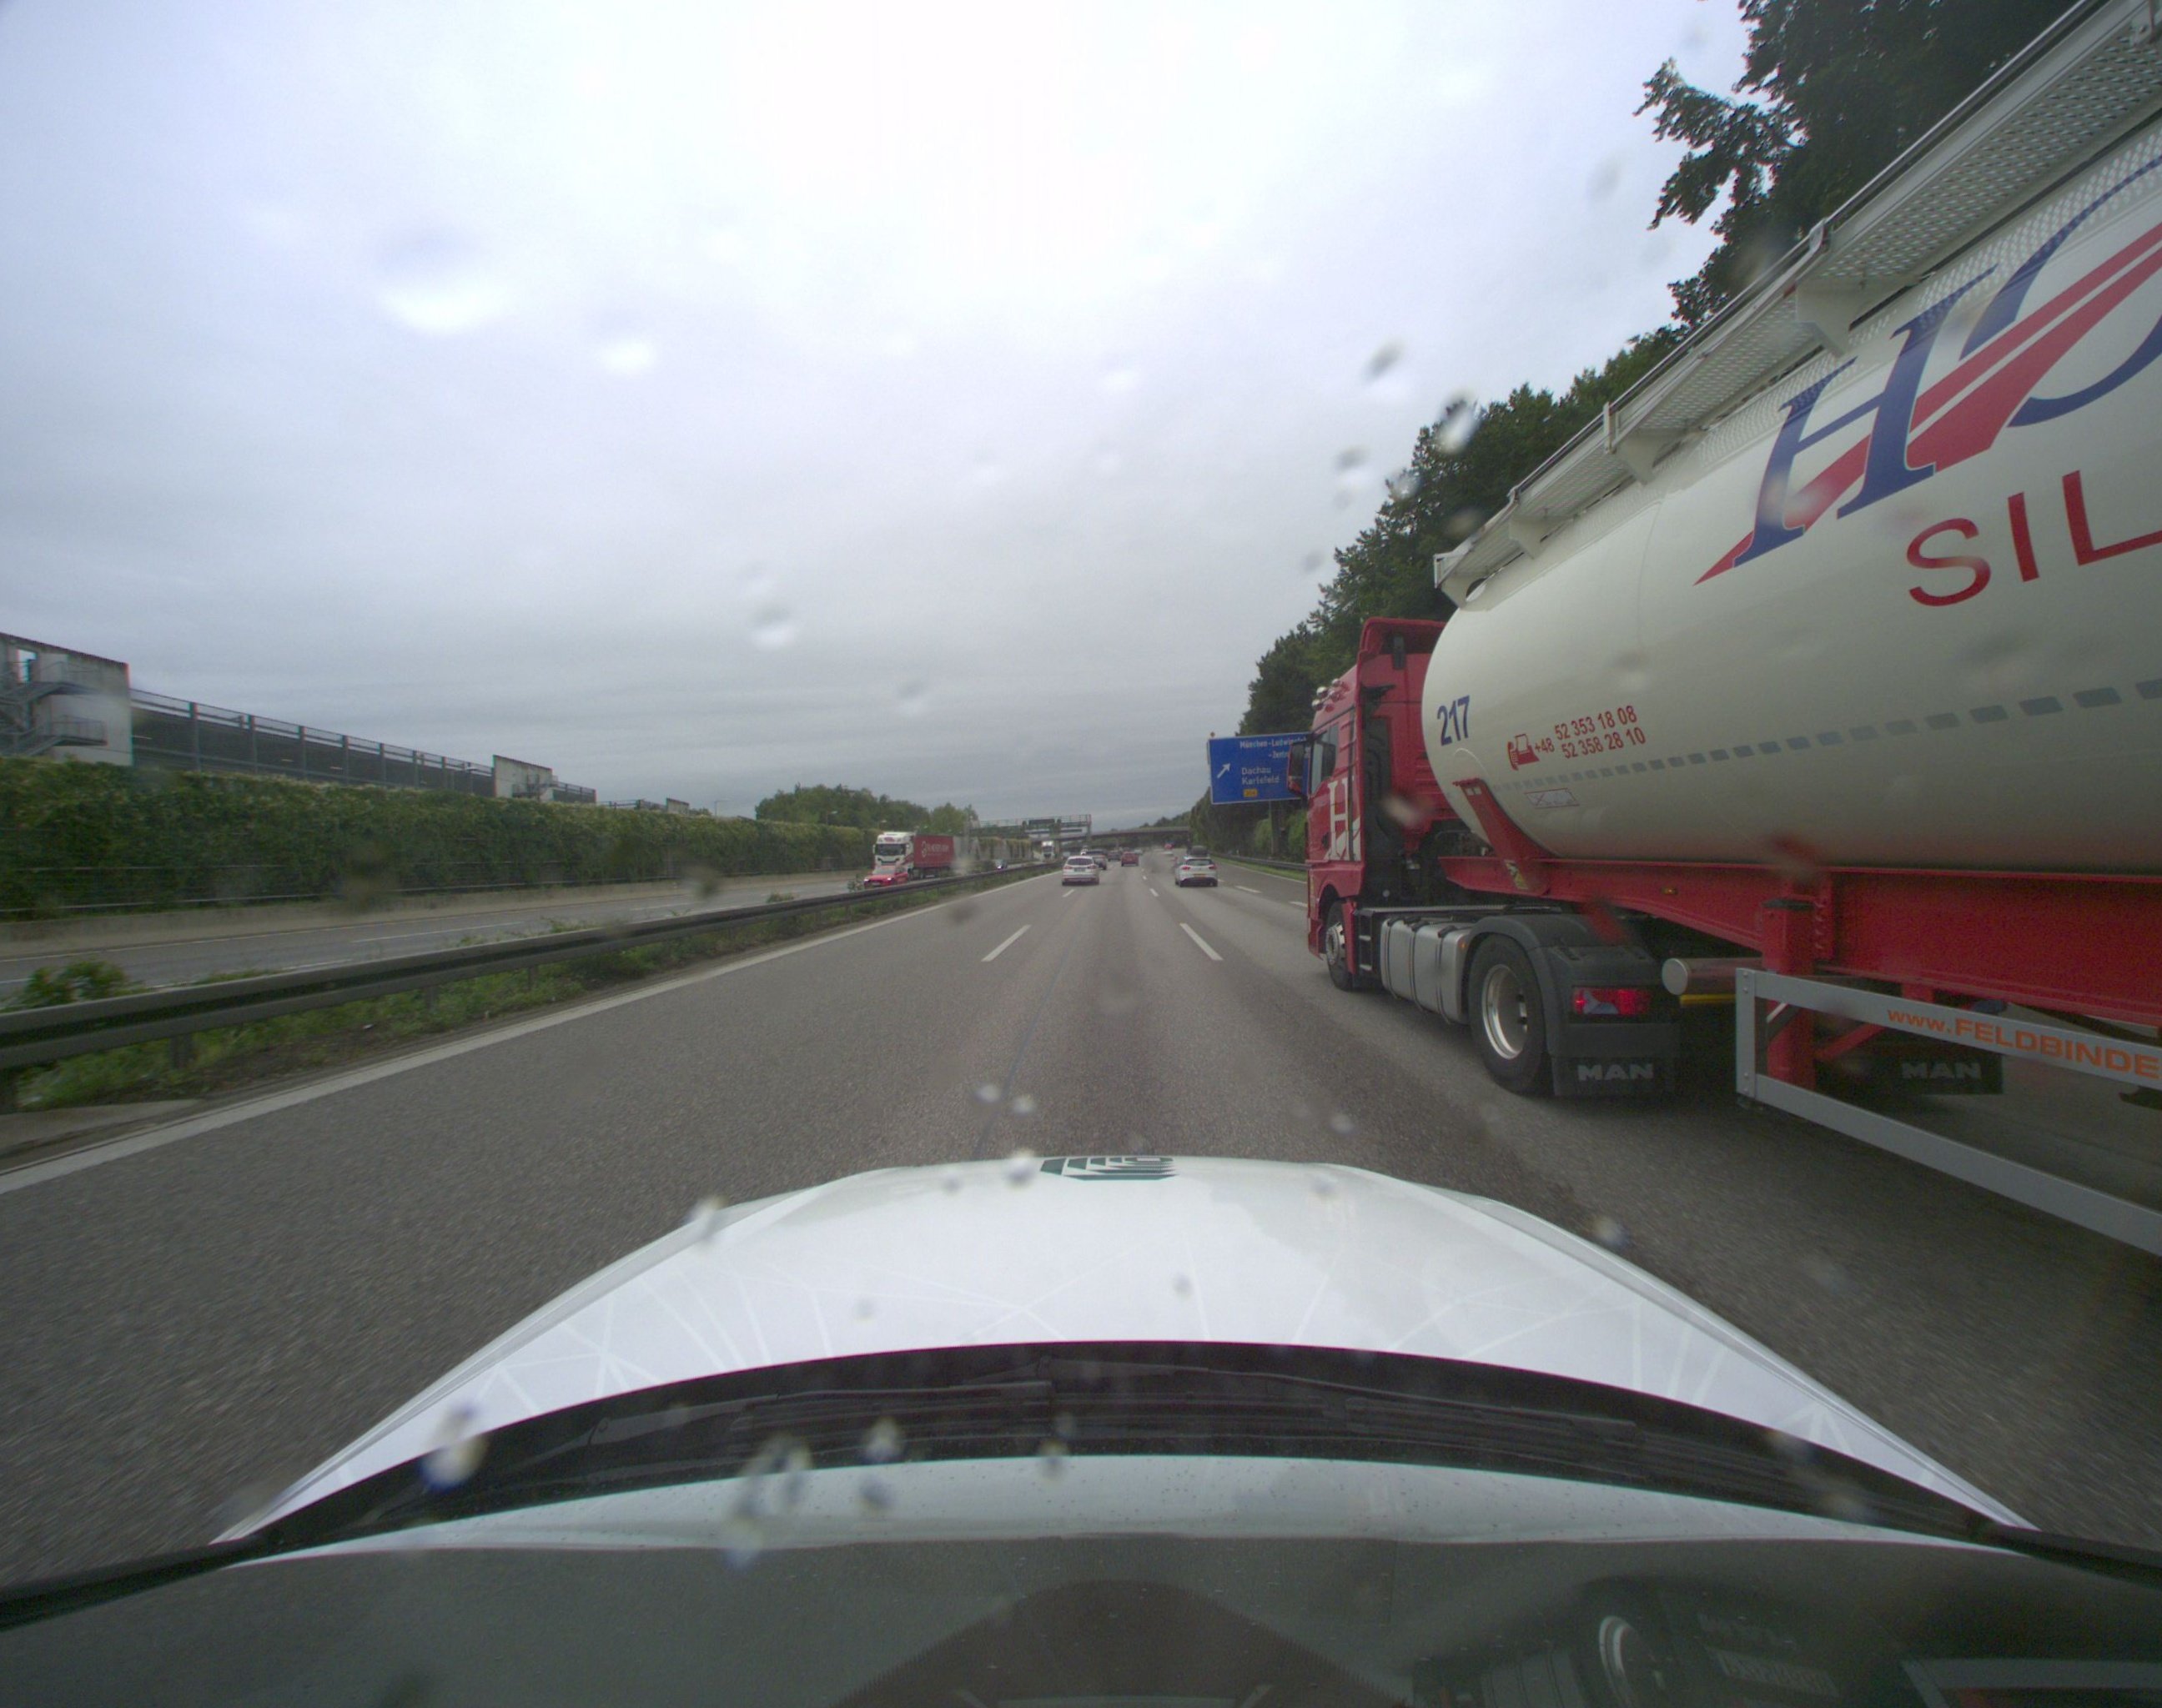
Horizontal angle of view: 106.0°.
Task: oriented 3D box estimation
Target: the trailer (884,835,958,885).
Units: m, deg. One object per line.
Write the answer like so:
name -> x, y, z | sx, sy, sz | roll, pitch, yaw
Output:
trailer -> -14.339, 0.464, 74.546 | 2.731, 4.127, 13.708 | -1, 0, 5

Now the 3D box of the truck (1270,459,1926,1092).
truck -> 4.008, -0.516, 8.396 | 2.685, 3.912, 6.559 | -1, 0, 1

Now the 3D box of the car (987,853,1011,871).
car -> -8.727, 0.826, 86.581 | 1.986, 1.738, 4.003 | 0, 2, 2

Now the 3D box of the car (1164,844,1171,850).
car -> 22.967, -1.799, 215.320 | 1.681, 1.422, 3.876 | -1, 0, 4

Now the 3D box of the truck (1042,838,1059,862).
truck -> -5.963, -0.738, 159.640 | 2.636, 4.473, 5.290 | -2, 0, 5

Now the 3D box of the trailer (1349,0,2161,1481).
trailer -> 3.788, -0.537, 1.282 | 2.658, 3.939, 13.134 | -1, 0, 1

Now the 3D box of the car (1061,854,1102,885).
car -> 0.094, 0.775, 41.817 | 1.884, 1.504, 5.033 | 0, 0, 3

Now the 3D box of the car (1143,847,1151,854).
car -> 15.132, -0.808, 187.439 | 1.680, 1.539, 3.878 | -2, 0, 6

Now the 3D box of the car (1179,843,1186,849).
car -> 27.247, -2.154, 218.901 | 1.681, 1.422, 3.876 | -1, 0, 4

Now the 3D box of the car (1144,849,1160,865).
car -> 8.476, 0.336, 96.941 | 1.680, 1.779, 3.878 | -2, -1, 6

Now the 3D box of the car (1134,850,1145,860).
car -> 11.018, 0.162, 152.833 | 1.781, 1.779, 3.878 | -2, -1, 6

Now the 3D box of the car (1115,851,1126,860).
car -> 7.227, 0.321, 149.972 | 1.680, 1.639, 3.878 | -2, -1, 6

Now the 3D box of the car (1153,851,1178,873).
car -> 6.196, 0.590, 59.949 | 1.681, 1.506, 3.876 | -1, -1, 5

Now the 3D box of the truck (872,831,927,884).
truck -> -14.956, 0.256, 67.650 | 2.655, 4.127, 5.924 | -2, 0, 5

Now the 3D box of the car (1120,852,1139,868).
car -> 5.004, 0.577, 83.940 | 1.680, 1.506, 3.877 | 3, 1, 5

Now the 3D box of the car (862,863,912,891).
car -> -11.877, 1.387, 50.098 | 1.765, 1.569, 4.719 | -1, -1, 2

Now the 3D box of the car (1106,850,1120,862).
car -> 4.550, 0.291, 114.838 | 1.680, 1.506, 3.878 | -3, 0, 6

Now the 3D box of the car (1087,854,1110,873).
car -> 1.541, 0.796, 70.447 | 1.681, 1.506, 3.876 | 3, 1, 4

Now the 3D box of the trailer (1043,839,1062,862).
trailer -> -5.628, -0.735, 163.322 | 2.655, 4.444, 8.585 | -2, 0, 5

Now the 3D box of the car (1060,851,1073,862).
car -> -2.789, 0.425, 155.085 | 1.985, 2.014, 4.915 | -1, -1, 4

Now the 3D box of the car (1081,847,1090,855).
car -> 1.203, -0.725, 203.292 | 1.985, 2.014, 4.915 | -1, -1, 4

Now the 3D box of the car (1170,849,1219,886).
car -> 5.274, 0.628, 38.348 | 1.809, 1.625, 5.032 | 0, -1, 2

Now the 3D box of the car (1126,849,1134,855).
car -> 11.627, -0.403, 193.472 | 1.681, 1.422, 3.876 | -1, 0, 4
